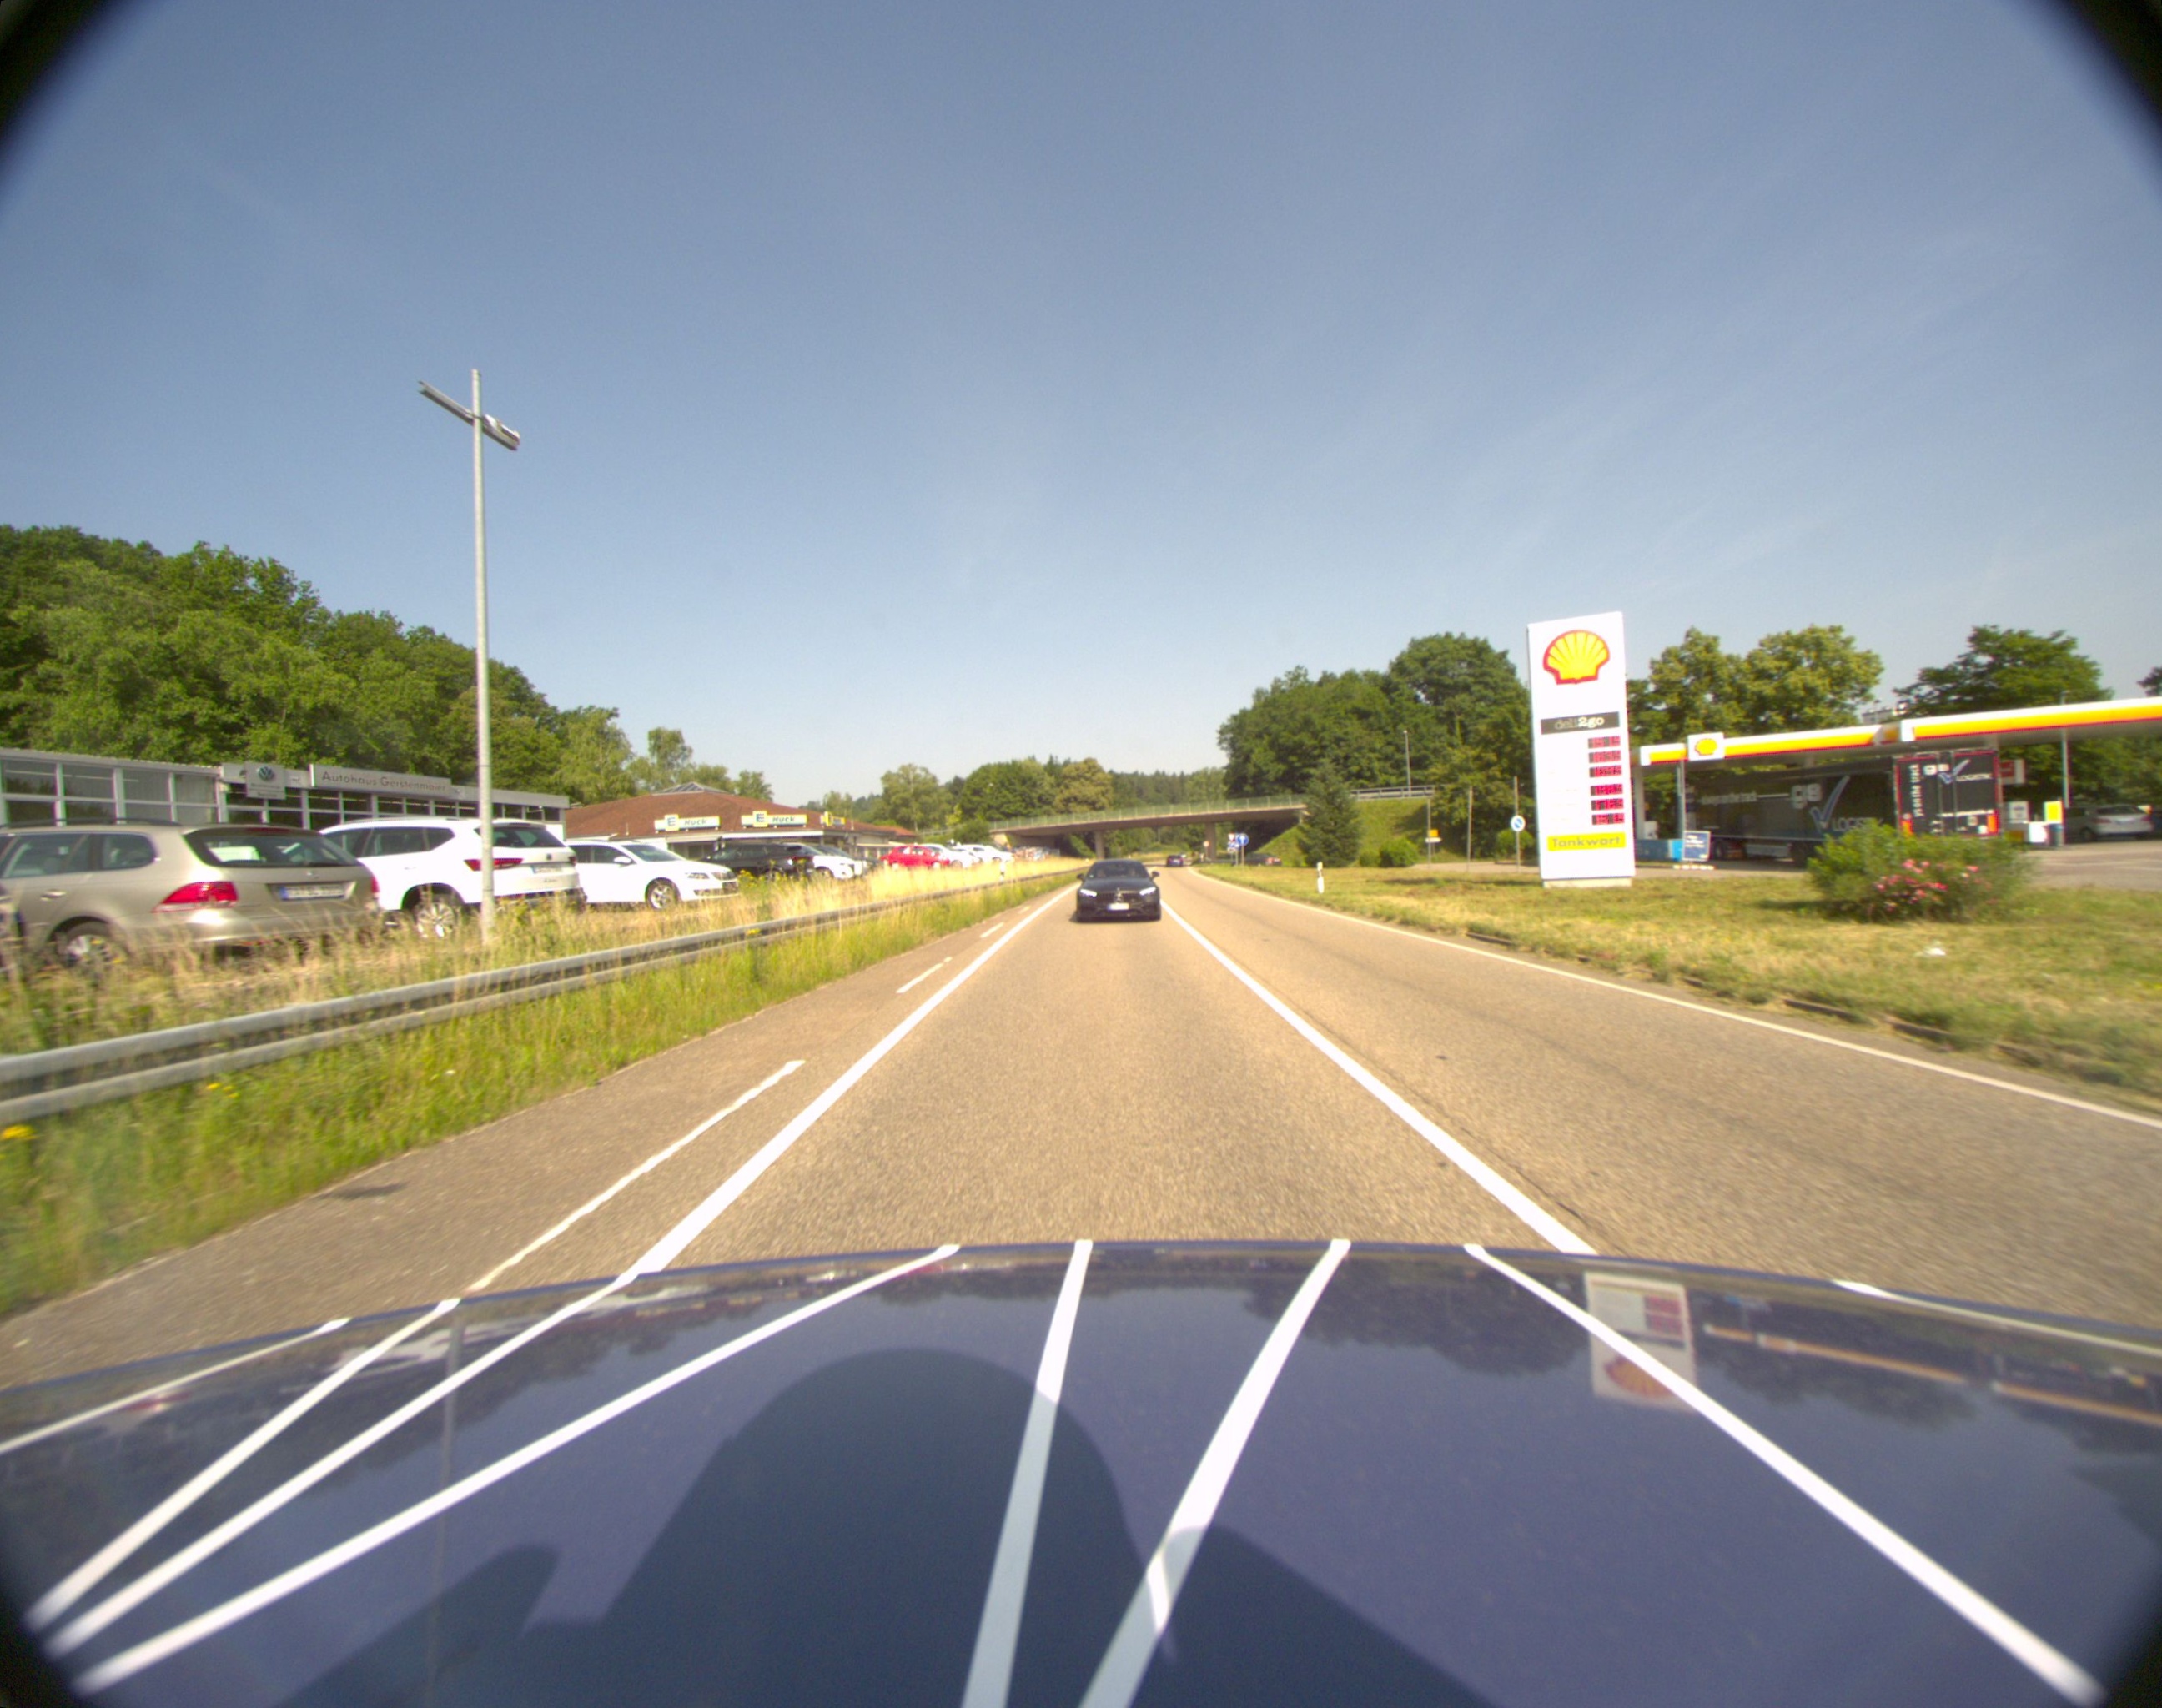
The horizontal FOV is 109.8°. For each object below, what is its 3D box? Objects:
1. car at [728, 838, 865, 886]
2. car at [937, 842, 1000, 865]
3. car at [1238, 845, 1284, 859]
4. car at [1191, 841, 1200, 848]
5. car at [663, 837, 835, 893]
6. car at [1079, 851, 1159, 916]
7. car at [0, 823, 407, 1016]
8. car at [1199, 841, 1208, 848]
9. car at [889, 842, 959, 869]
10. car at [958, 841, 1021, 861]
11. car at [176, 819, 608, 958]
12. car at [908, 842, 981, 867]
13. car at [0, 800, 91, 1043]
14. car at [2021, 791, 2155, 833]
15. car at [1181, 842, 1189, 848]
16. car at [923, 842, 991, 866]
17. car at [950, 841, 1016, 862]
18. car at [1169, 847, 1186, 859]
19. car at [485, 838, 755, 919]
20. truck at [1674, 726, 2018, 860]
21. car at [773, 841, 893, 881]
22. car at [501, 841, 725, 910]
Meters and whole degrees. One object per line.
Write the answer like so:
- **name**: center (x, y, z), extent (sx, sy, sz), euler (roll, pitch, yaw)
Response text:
- **car**: center (-9.776, 0.245, 26.322), extent (3.996, 1.543, 1.806), euler (-1, 1, 3)
- **car**: center (-7.751, -0.035, 52.593), extent (3.996, 1.456, 1.877), euler (-1, 1, 3)
- **car**: center (15.741, -0.202, 66.757), extent (1.811, 1.166, 4.091), euler (-1, 1, -24)
- **car**: center (21.823, -1.823, 144.956), extent (1.681, 1.348, 3.924), euler (-1, 1, 7)
- **car**: center (-9.940, 0.294, 23.022), extent (4.295, 1.543, 2.032), euler (-1, 1, 0)
- **car**: center (0.928, 0.640, 18.713), extent (1.716, 1.382, 4.147), euler (-1, 1, 3)
- **car**: center (-8.929, 0.524, 6.930), extent (4.048, 1.499, 1.806), euler (-1, 1, 5)
- **car**: center (27.276, -2.095, 168.954), extent (1.681, 1.348, 3.924), euler (-1, 1, 7)
- **car**: center (-8.979, 0.073, 43.710), extent (3.545, 1.456, 1.805), euler (-1, 1, 3)
- **car**: center (-7.183, -0.235, 59.960), extent (4.571, 1.456, 1.877), euler (-1, 1, 3)
- **car**: center (-8.832, 0.411, 9.985), extent (4.054, 1.608, 1.880), euler (-1, 1, 5)
- **car**: center (-8.273, 0.016, 46.208), extent (3.996, 1.456, 1.877), euler (-1, 1, 3)
- **car**: center (-9.495, 0.528, 4.675), extent (4.366, 1.630, 1.951), euler (-2, 1, 3)
- **car**: center (44.058, -1.795, 33.389), extent (1.905, 1.633, 4.006), euler (-3, 1, 26)
- **car**: center (22.929, -1.943, 167.565), extent (1.681, 1.348, 3.924), euler (-1, 1, 7)
- **car**: center (-7.969, 0.002, 49.182), extent (3.996, 1.456, 1.877), euler (-1, 1, 3)
- **car**: center (-7.244, -0.161, 56.424), extent (4.571, 1.456, 1.877), euler (-1, 1, 3)
- **car**: center (10.825, -0.099, 85.638), extent (1.681, 1.348, 3.923), euler (-1, 1, 4)
- **car**: center (-9.253, 0.457, 15.488), extent (4.358, 1.486, 1.880), euler (-1, 1, 4)
- **truck**: center (30.410, -2.107, 32.097), extent (3.056, 4.111, 16.792), euler (-1, 1, 19)
- **car**: center (-9.578, 0.241, 29.533), extent (3.996, 1.456, 1.877), euler (-1, 1, 3)
- **car**: center (-10.885, 0.467, 17.911), extent (4.056, 1.486, 1.879), euler (-1, 1, -1)
